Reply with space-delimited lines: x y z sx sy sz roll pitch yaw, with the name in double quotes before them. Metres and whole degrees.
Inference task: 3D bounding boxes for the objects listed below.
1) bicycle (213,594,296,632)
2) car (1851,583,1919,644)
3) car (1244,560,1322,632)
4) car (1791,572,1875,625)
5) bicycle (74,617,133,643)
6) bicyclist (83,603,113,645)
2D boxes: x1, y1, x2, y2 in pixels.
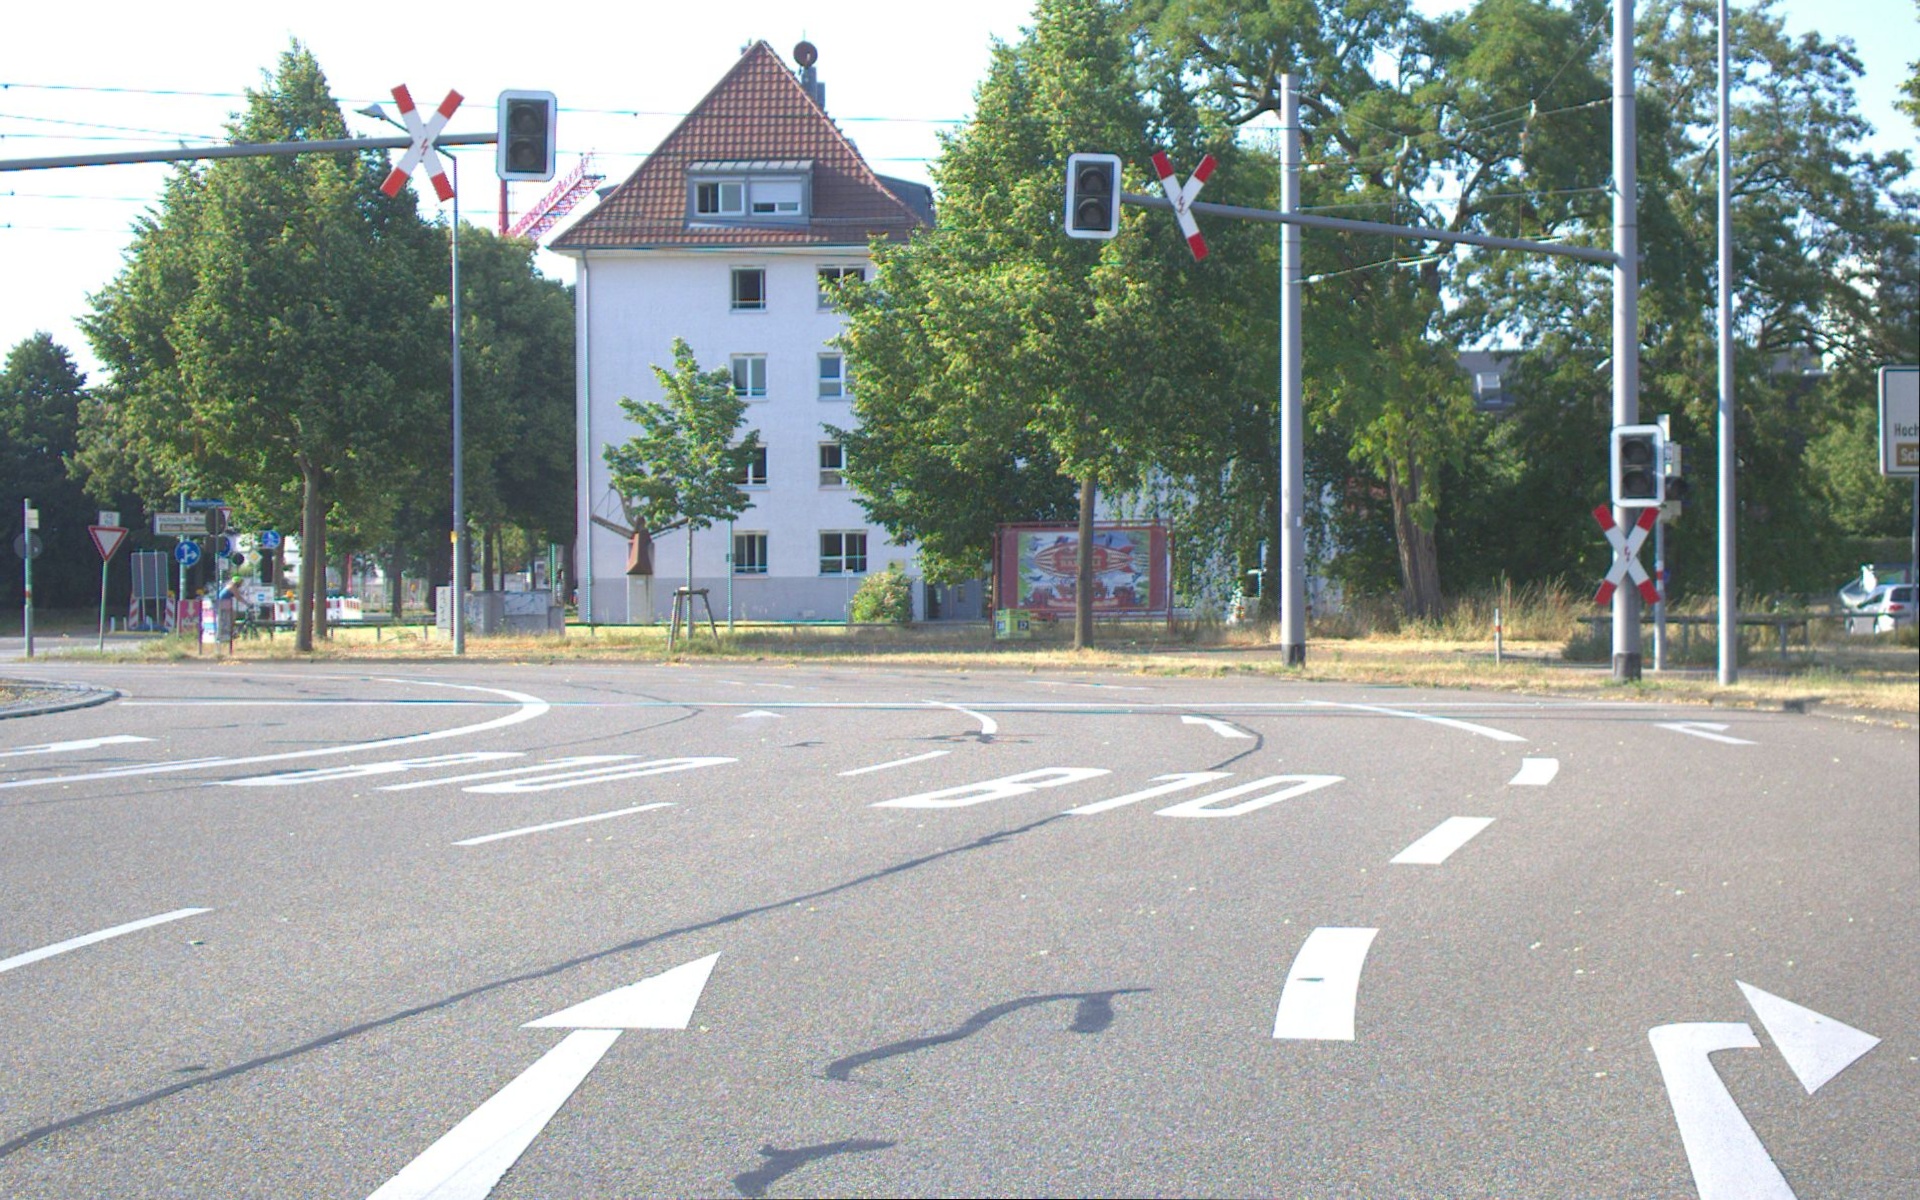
"bicycle" -17.520 0.313 85.370 1.987 0.915 0.430 -1 1 -28
"car" 21.986 0.303 80.465 1.601 1.397 3.968 0 0 6
"car" 7.545 -0.092 80.173 1.771 1.612 3.968 0 0 6
"car" 23.415 -0.036 92.319 1.601 1.397 3.968 0 0 6
"bicycle" -32.087 1.115 128.799 2.100 0.960 0.598 0 0 14
"bicyclist" -32.298 0.885 128.820 0.892 1.557 0.659 0 0 14
